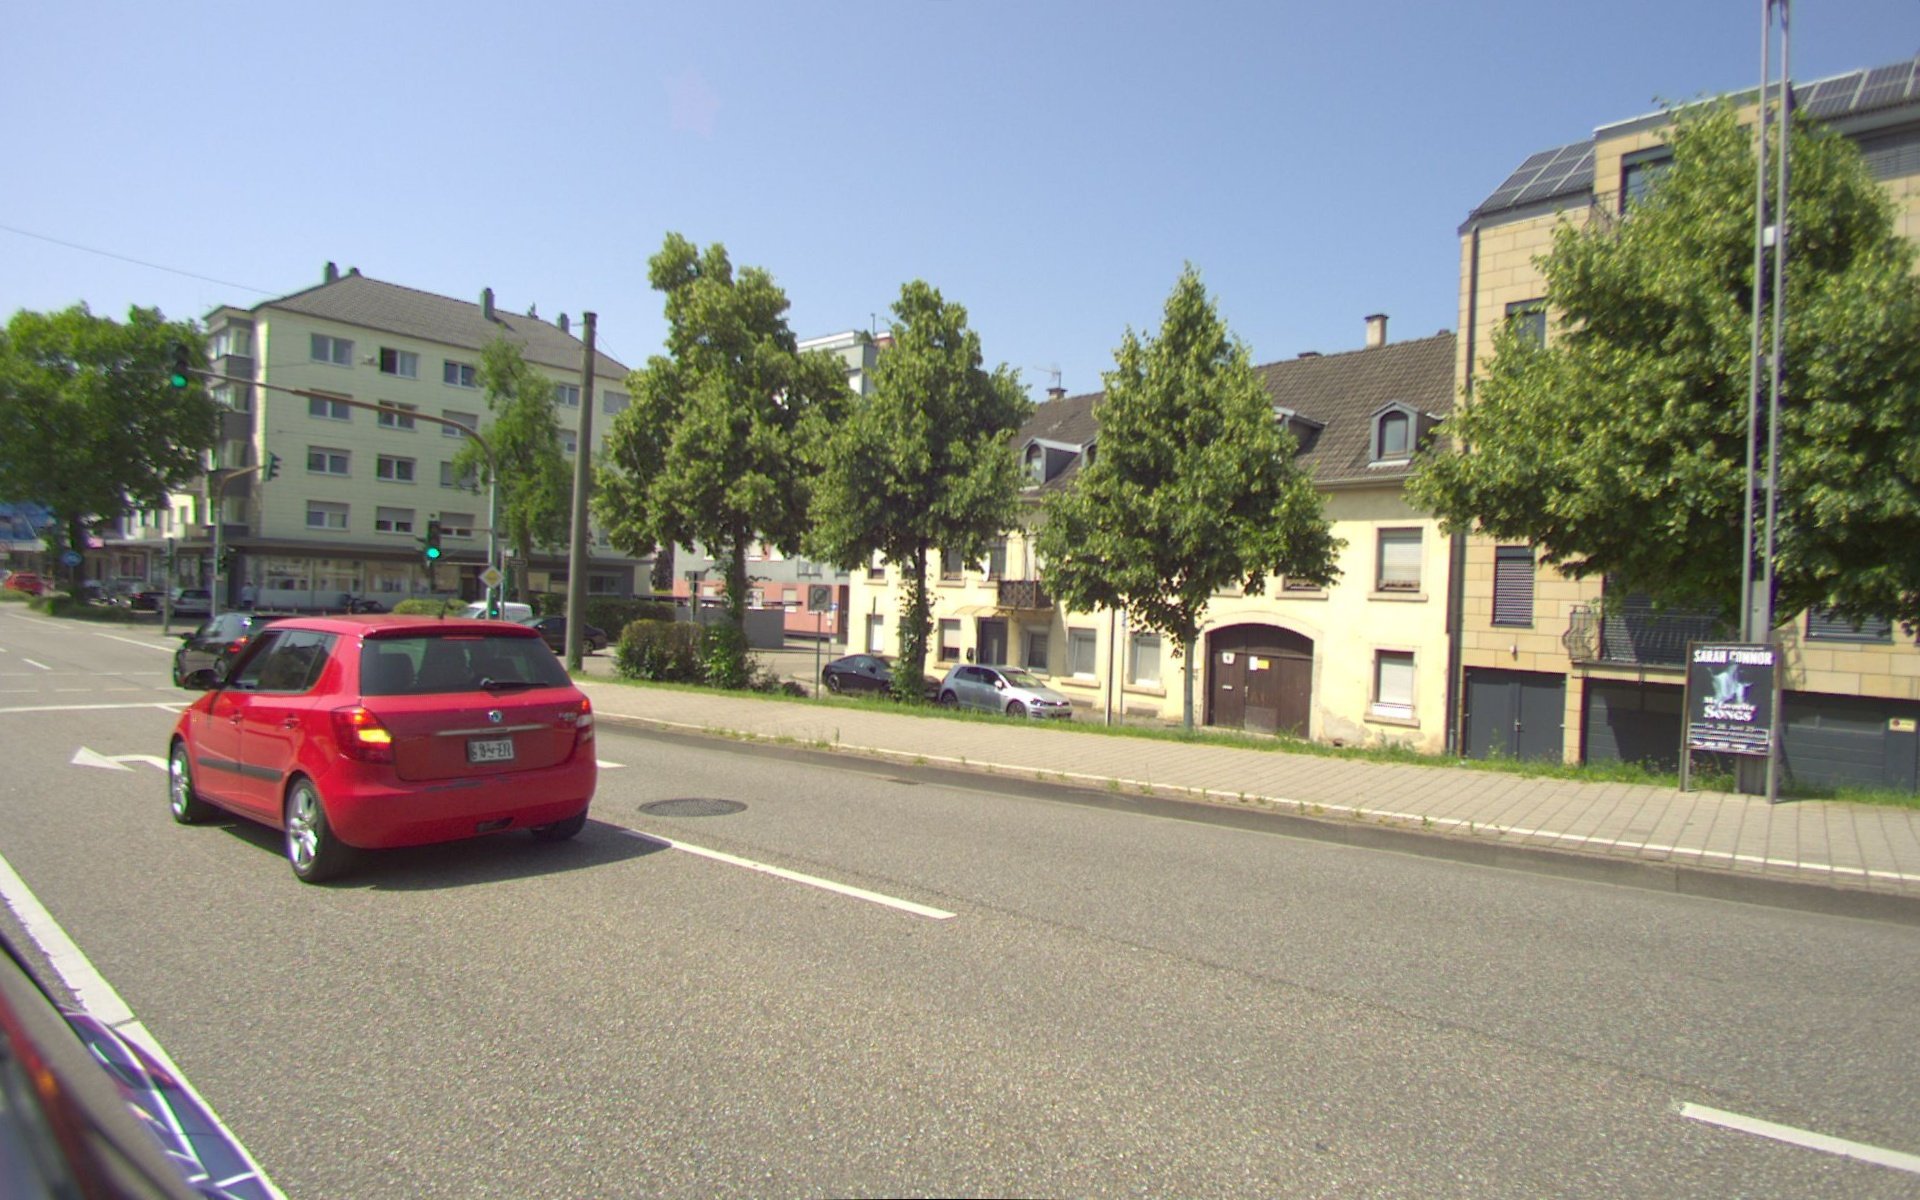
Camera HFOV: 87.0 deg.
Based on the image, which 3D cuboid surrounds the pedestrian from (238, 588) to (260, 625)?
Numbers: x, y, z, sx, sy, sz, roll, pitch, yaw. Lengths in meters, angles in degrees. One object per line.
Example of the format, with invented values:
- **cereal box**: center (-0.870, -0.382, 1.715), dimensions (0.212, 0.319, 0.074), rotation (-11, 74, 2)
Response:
- **pedestrian**: center (-34.618, 0.330, 49.268), dimensions (0.742, 1.773, 0.621), rotation (3, 0, 39)

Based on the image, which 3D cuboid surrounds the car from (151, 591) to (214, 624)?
- **car**: center (-38.357, 0.371, 49.894), dimensions (3.936, 1.469, 1.567), rotation (2, 0, 39)

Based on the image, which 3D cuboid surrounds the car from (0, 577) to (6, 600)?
- **car**: center (-68.506, -0.870, 70.763), dimensions (4.326, 1.531, 1.890), rotation (2, 0, 37)

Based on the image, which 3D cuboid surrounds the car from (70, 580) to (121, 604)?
- **car**: center (-53.202, -0.497, 62.257), dimensions (3.857, 1.296, 1.683), rotation (2, 1, 39)

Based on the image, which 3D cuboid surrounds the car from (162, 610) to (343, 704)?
- **car**: center (-13.059, 1.003, 18.603), dimensions (4.028, 1.496, 1.696), rotation (0, -3, 40)

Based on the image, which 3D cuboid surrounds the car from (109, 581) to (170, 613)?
- **car**: center (-44.528, -0.179, 54.883), dimensions (4.835, 1.580, 1.606), rotation (2, 0, 40)

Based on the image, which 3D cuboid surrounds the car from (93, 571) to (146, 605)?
- **car**: center (-48.878, -0.694, 58.840), dimensions (3.856, 1.853, 1.623), rotation (2, 1, 39)

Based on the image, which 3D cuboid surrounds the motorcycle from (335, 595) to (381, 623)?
- **motorcycle**: center (-31.676, 0.457, 53.256), dimensions (0.714, 1.431, 1.895), rotation (4, 2, 40)

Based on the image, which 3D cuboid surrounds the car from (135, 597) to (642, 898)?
- **car**: center (-3.990, 0.752, 6.825), dimensions (3.856, 1.475, 1.631), rotation (0, -2, 38)

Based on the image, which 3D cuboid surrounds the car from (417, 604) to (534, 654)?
- **car**: center (-19.112, 1.168, 40.009), dimensions (1.891, 1.748, 3.651), rotation (2, -2, 37)

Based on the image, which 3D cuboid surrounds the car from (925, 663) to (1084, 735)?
- **car**: center (1.152, 2.668, 27.996), dimensions (1.755, 1.443, 4.434), rotation (0, 1, -43)

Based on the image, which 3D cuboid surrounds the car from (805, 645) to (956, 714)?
- **car**: center (-2.607, 2.457, 31.959), dimensions (1.793, 1.640, 5.292), rotation (5, -2, -43)

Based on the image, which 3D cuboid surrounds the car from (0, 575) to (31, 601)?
- **car**: center (-60.202, -0.775, 64.051), dimensions (3.632, 1.479, 1.618), rotation (2, 0, 40)

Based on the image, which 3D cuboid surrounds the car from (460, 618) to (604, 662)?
- **car**: center (-16.099, 1.544, 38.273), dimensions (2.112, 1.411, 4.564), rotation (2, -2, 35)
